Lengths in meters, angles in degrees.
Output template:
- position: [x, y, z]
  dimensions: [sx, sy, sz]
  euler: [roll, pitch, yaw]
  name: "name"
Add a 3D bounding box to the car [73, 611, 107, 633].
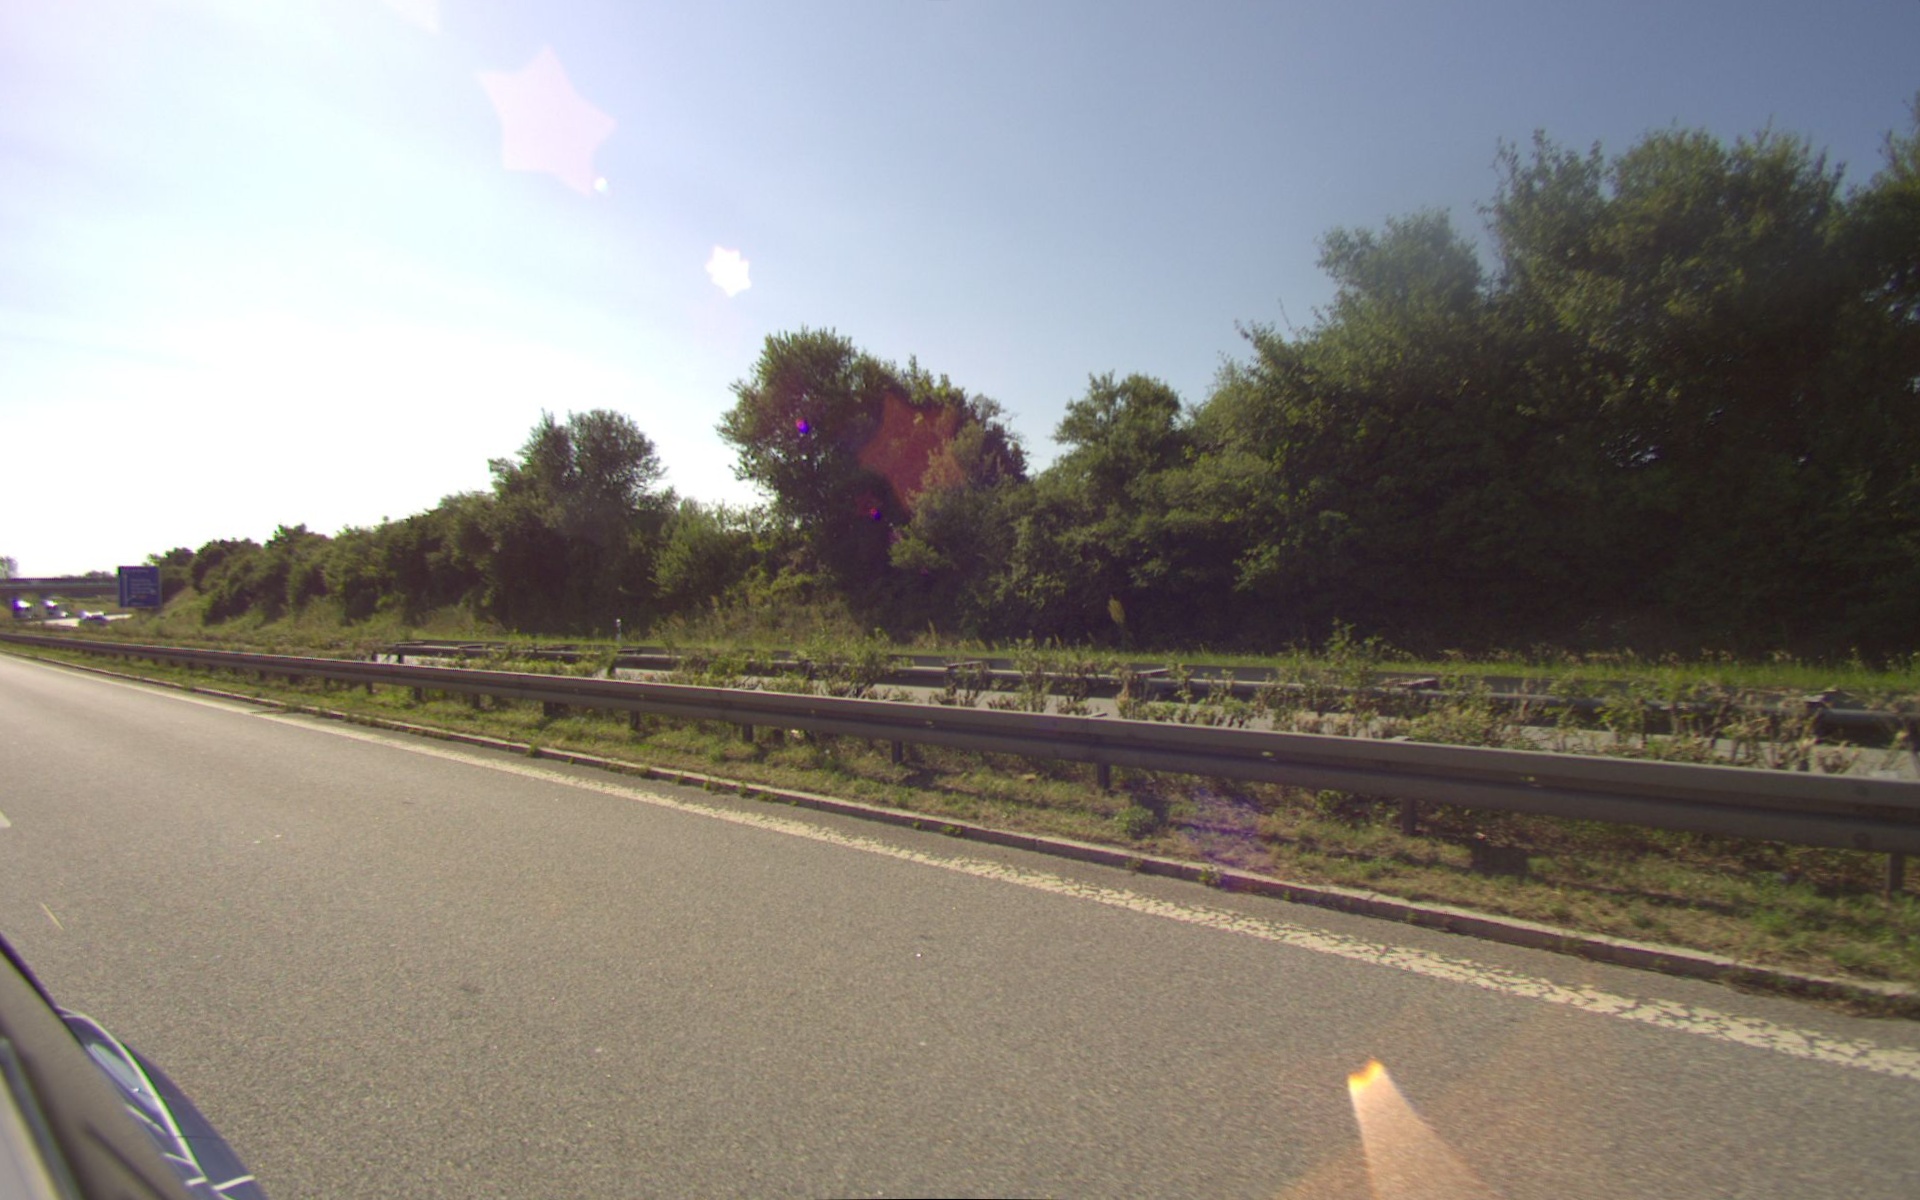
- position: [-83.569, 2.125, 97.169]
  dimensions: [4.855, 2.029, 1.972]
  euler: [-1, -1, 43]
  name: "car"
